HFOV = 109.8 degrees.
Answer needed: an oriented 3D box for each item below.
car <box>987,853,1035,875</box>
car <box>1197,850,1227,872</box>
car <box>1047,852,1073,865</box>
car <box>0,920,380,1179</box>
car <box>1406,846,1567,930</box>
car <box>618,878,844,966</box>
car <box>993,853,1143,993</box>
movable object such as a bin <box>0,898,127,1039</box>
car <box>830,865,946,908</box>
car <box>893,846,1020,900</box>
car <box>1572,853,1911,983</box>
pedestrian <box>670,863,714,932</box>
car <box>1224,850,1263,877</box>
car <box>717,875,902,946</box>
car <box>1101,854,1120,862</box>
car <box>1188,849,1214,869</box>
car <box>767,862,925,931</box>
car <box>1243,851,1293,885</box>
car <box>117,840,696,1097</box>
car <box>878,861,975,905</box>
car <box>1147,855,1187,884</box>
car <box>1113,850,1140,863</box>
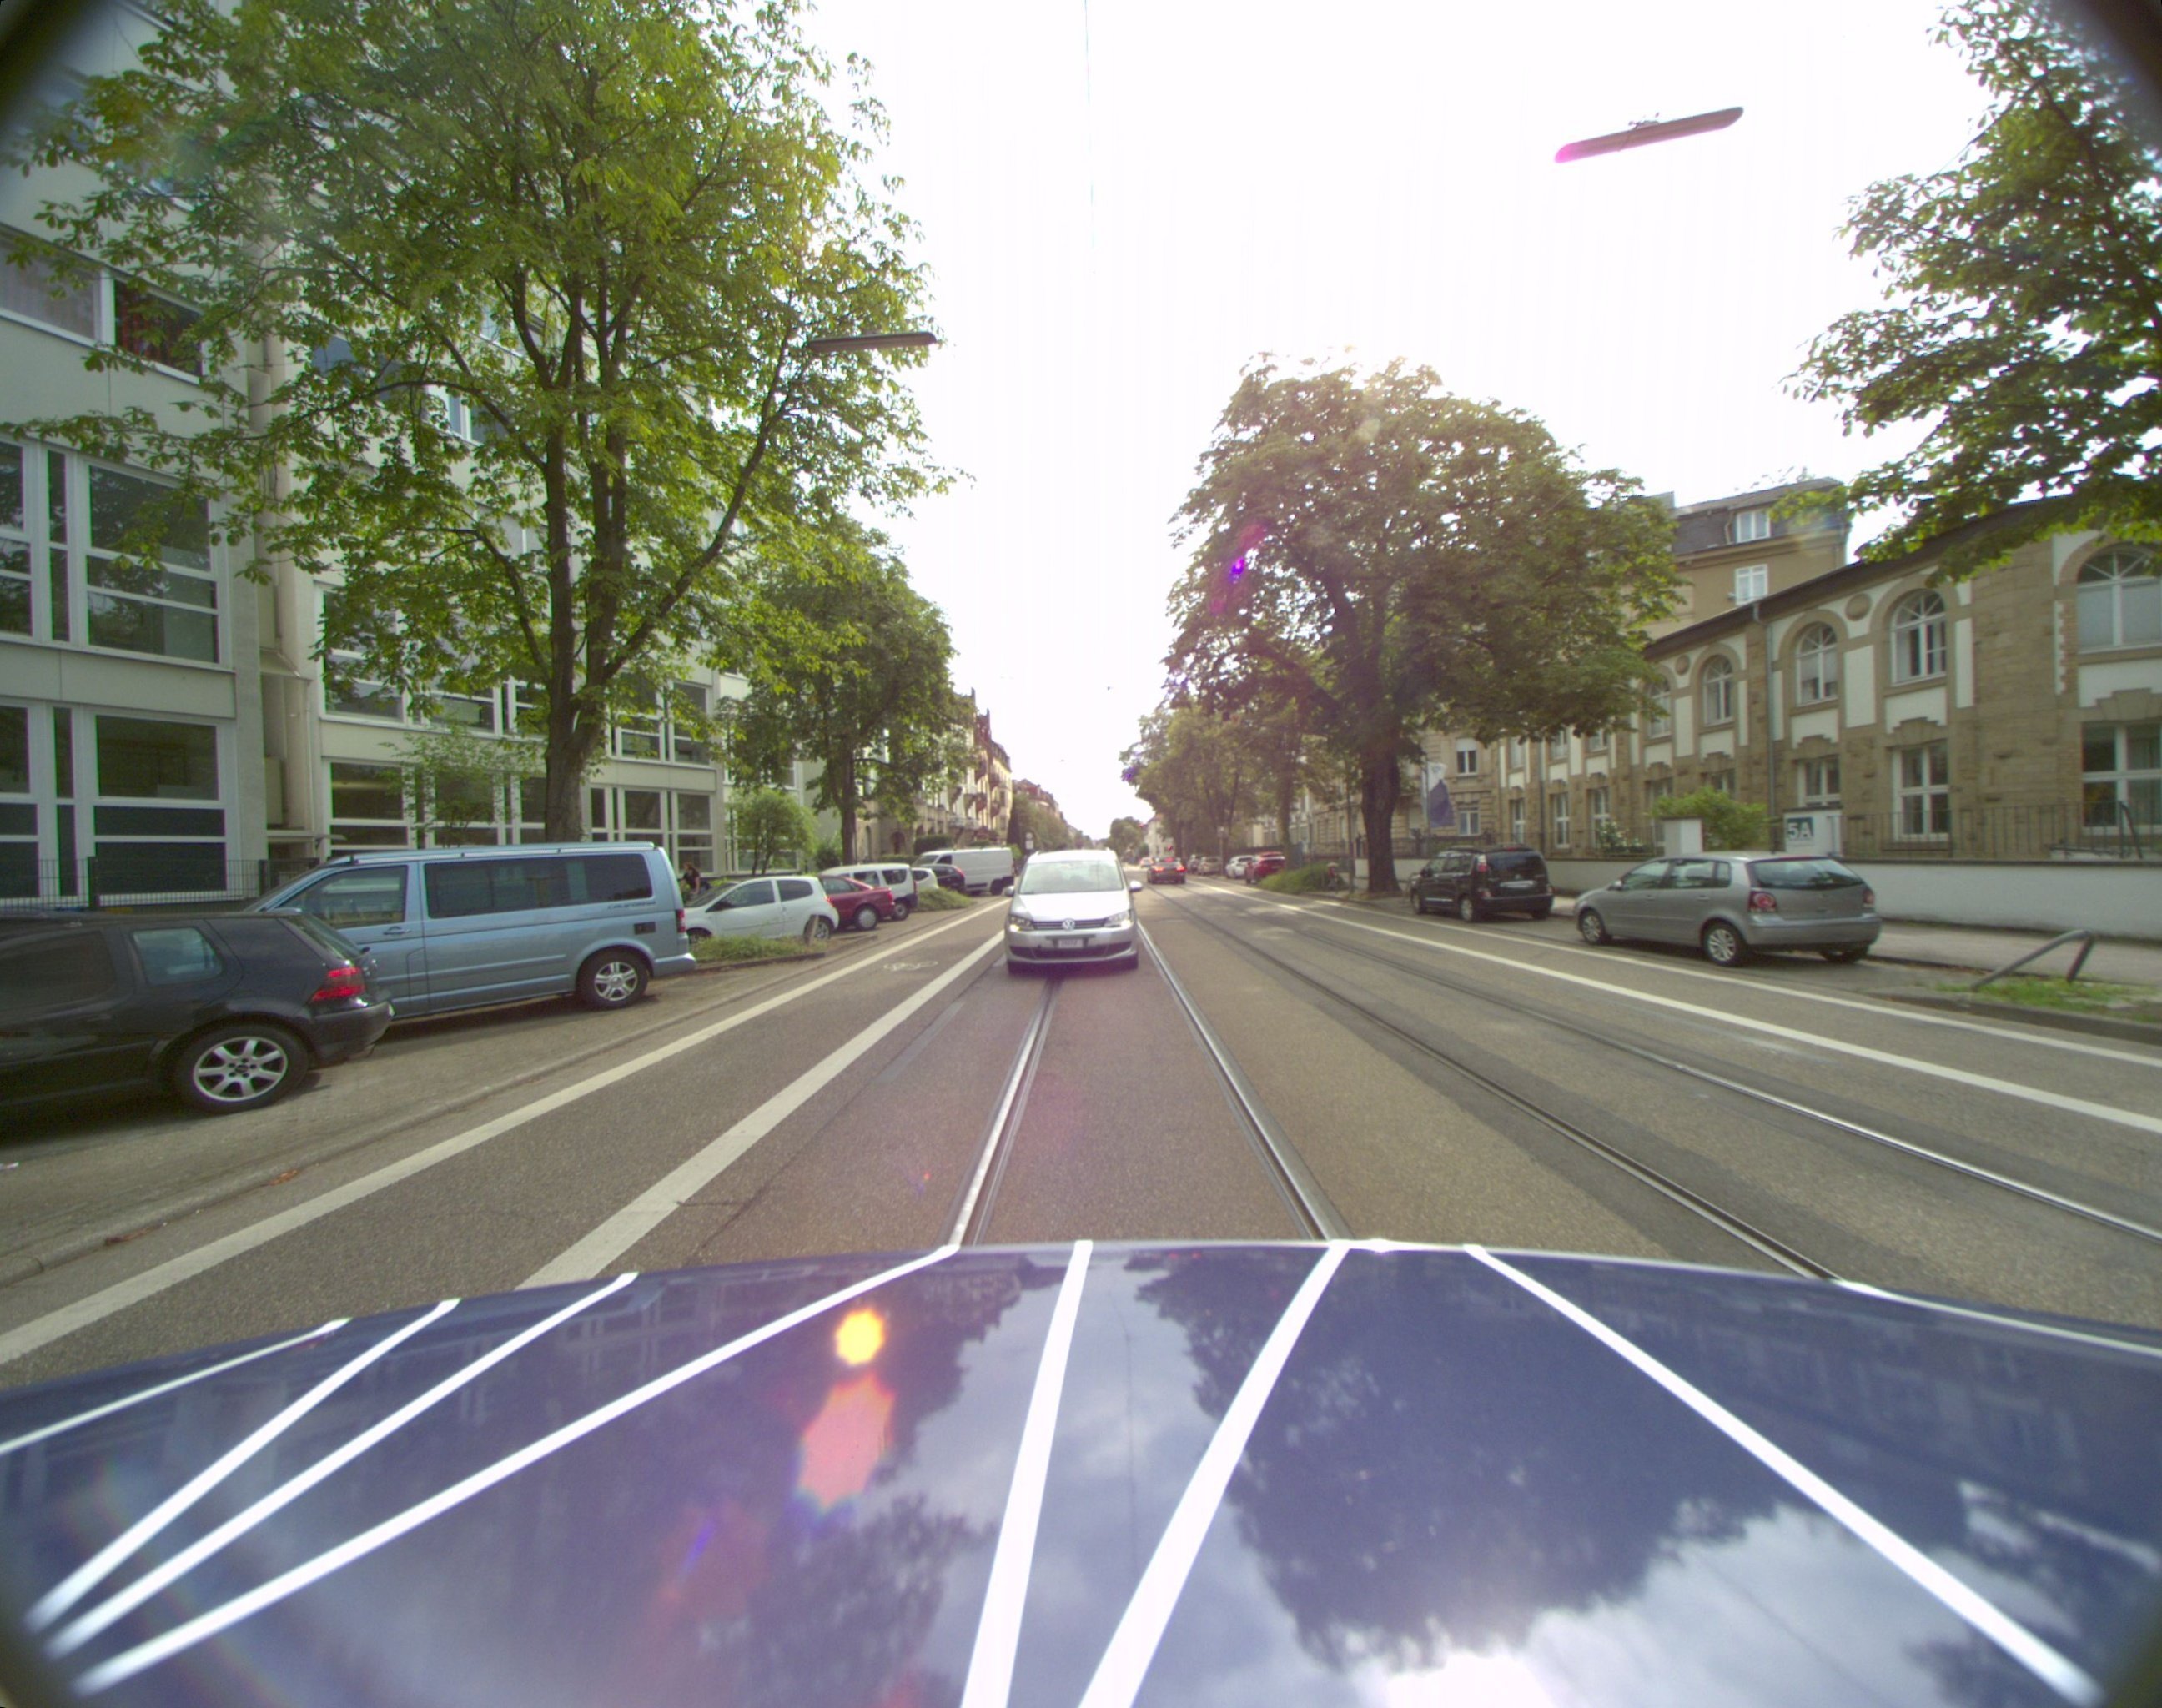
[{"bbox_3d":[-5.918,0.828,64.085,3.649,1.666,1.764,-2,1,-25],"label":"car"},{"bbox_3d":[10.150,0.514,59.244,1.659,1.624,3.906,-2,0,1],"label":"car"},{"bbox_3d":[-3.516,0.746,126.409,3.994,2.002,2.002,-2,0,11],"label":"car"},{"bbox_3d":[-7.392,1.318,4.999,3.980,1.379,1.810,-3,-1,-44],"label":"car"},{"bbox_3d":[8.987,0.687,17.210,1.659,1.624,3.725,-2,0,1],"label":"car"},{"bbox_3d":[-6.847,1.242,15.094,3.652,1.322,1.763,-3,1,-44],"label":"car"},{"bbox_3d":[-0.132,0.859,11.772,1.816,1.691,4.617,-2,0,1],"label":"car"},{"bbox_3d":[-12.232,1.279,8.491,1.334,1.450,1.400,-2,0,5],"label":"movable object such as a bin"},{"bbox_3d":[-6.968,1.140,27.679,3.652,1.322,1.763,-3,1,-44],"label":"car"},{"bbox_3d":[-5.716,0.823,35.491,5.449,2.163,2.142,-2,1,-40],"label":"car"},{"bbox_3d":[8.839,0.746,10.621,1.632,1.456,3.574,-2,0,1],"label":"car"},{"bbox_3d":[-10.619,1.184,20.752,0.714,1.817,0.775,-2,1,1],"label":"pedestrian"},{"bbox_3d":[10.362,0.582,48.702,1.659,1.592,3.906,-2,0,1],"label":"car"},{"bbox_3d":[-6.503,1.282,18.393,3.777,1.331,1.809,-2,1,-40],"label":"car"},{"bbox_3d":[6.756,0.940,174.991,3.993,1.797,2.002,-2,1,13],"label":"car"},{"bbox_3d":[10.461,0.420,66.554,1.659,1.624,3.906,-2,0,1],"label":"car"},{"bbox_3d":[-6.540,1.110,21.311,3.777,1.609,1.809,-2,1,-40],"label":"car"},{"bbox_3d":[9.761,0.688,39.943,1.659,1.624,3.906,-2,0,1],"label":"car"},{"bbox_3d":[-6.985,0.933,8.455,4.354,2.052,1.994,-2,0,-45],"label":"car"},{"bbox_3d":[-6.474,1.169,31.811,3.649,1.580,1.764,-2,1,-25],"label":"car"},{"bbox_3d":[4.811,0.817,42.780,1.786,1.506,4.144,-2,0,1],"label":"car"},{"bbox_3d":[7.309,0.371,122.696,3.993,2.002,2.002,-2,0,12],"label":"car"}]
